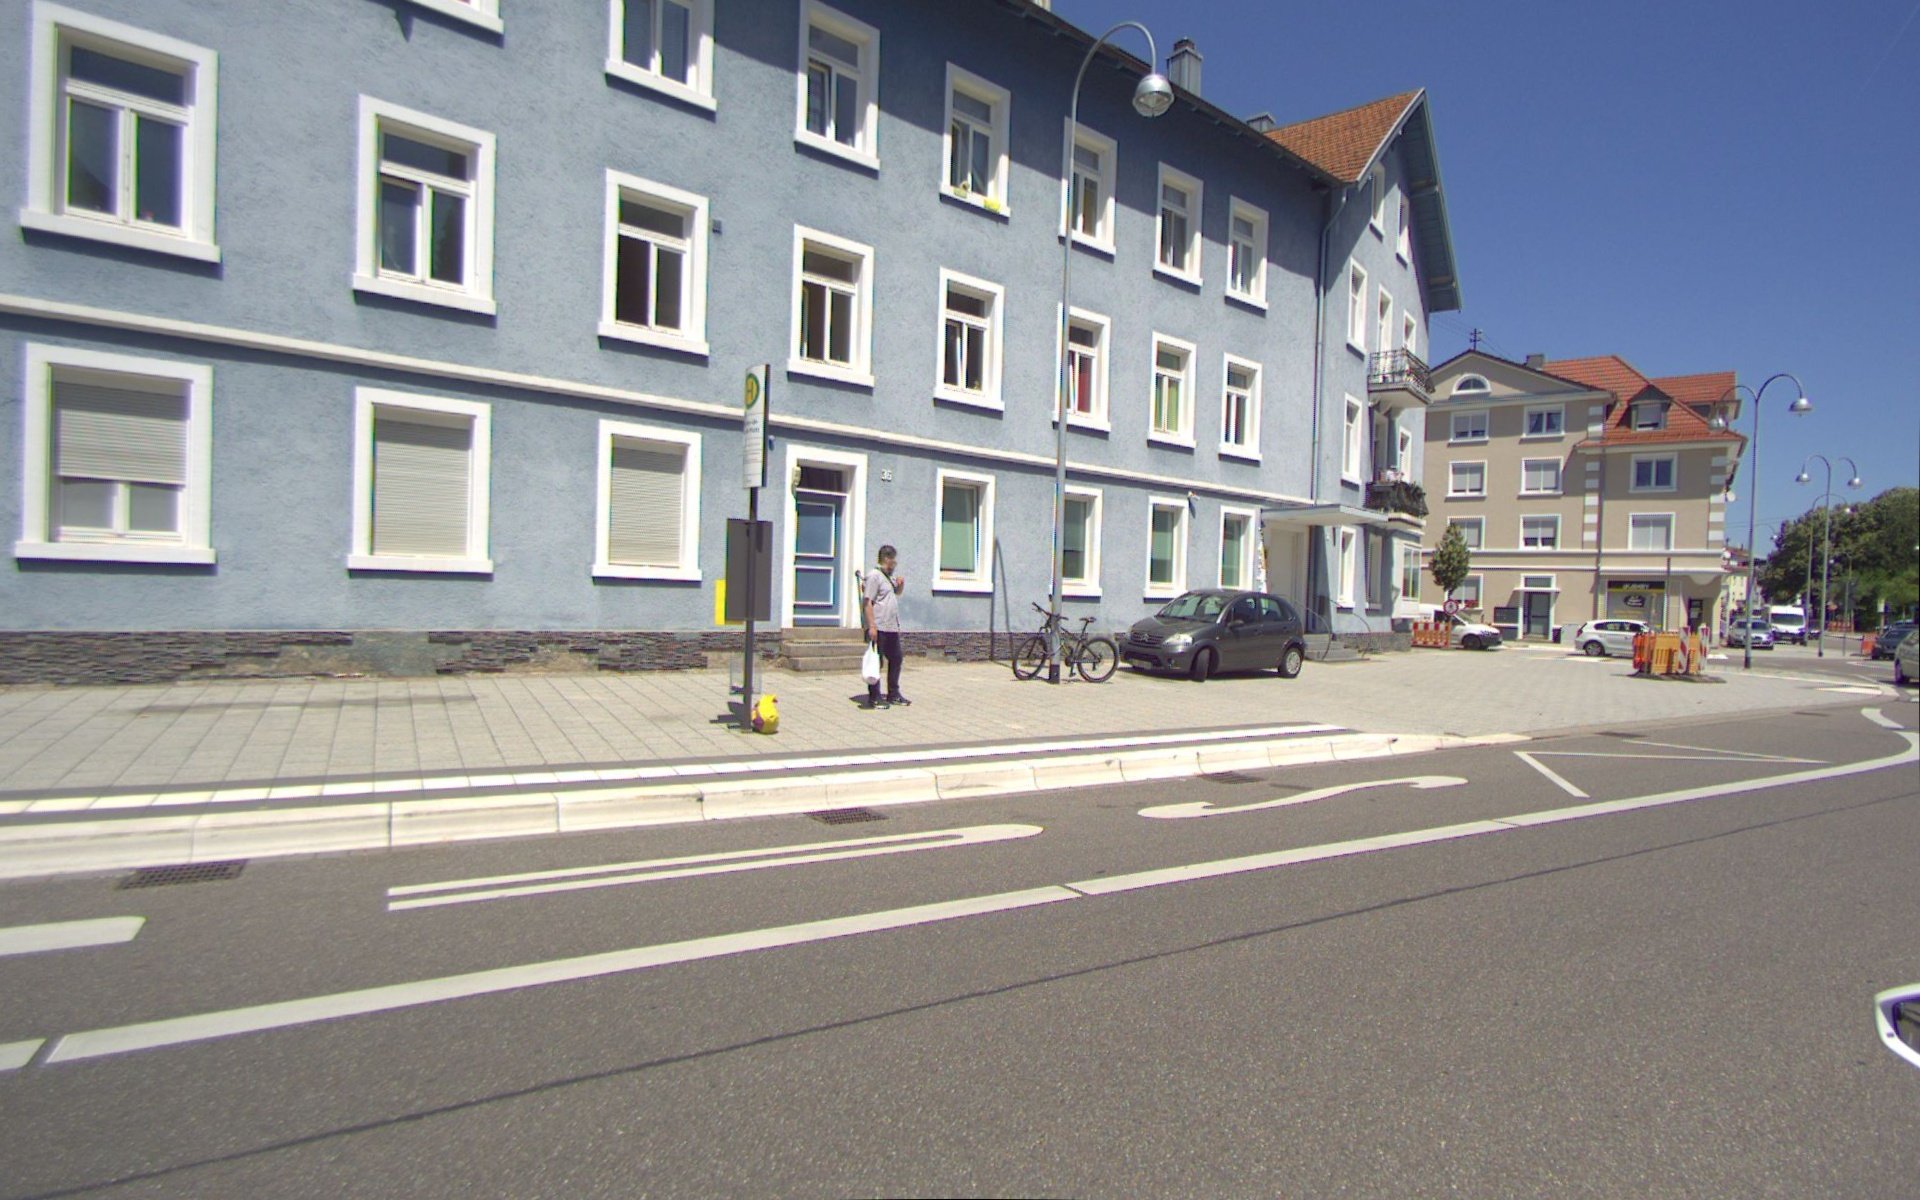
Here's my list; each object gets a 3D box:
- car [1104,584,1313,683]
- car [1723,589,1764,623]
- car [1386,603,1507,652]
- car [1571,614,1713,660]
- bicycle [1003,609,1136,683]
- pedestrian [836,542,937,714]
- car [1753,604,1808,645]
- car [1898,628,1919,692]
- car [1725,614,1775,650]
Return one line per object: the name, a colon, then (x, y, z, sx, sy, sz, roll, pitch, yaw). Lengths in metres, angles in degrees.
car: (4.468, 0.616, 17.858, 3.741, 1.554, 1.566, 4, -1, -37)
car: (64.517, 0.527, 82.769, 2.115, 2.566, 4.842, 4, 1, 33)
car: (20.302, 1.115, 42.016, 4.181, 1.801, 1.772, 2, 1, 42)
car: (25.229, 1.326, 37.249, 1.774, 1.571, 4.077, 2, -1, -42)
bicycle: (1.638, 0.699, 14.968, 1.947, 0.990, 0.494, 3, 4, -27)
pedestrian: (-0.856, 0.306, 11.594, 0.765, 1.873, 0.749, 2, 3, -39)
car: (55.686, 1.654, 68.285, 2.115, 2.566, 6.220, 4, 1, 33)
car: (25.700, 1.375, 25.066, 4.333, 1.549, 1.833, -2, -3, -26)
car: (40.639, 1.637, 51.765, 1.752, 1.708, 4.678, 2, 0, 35)
